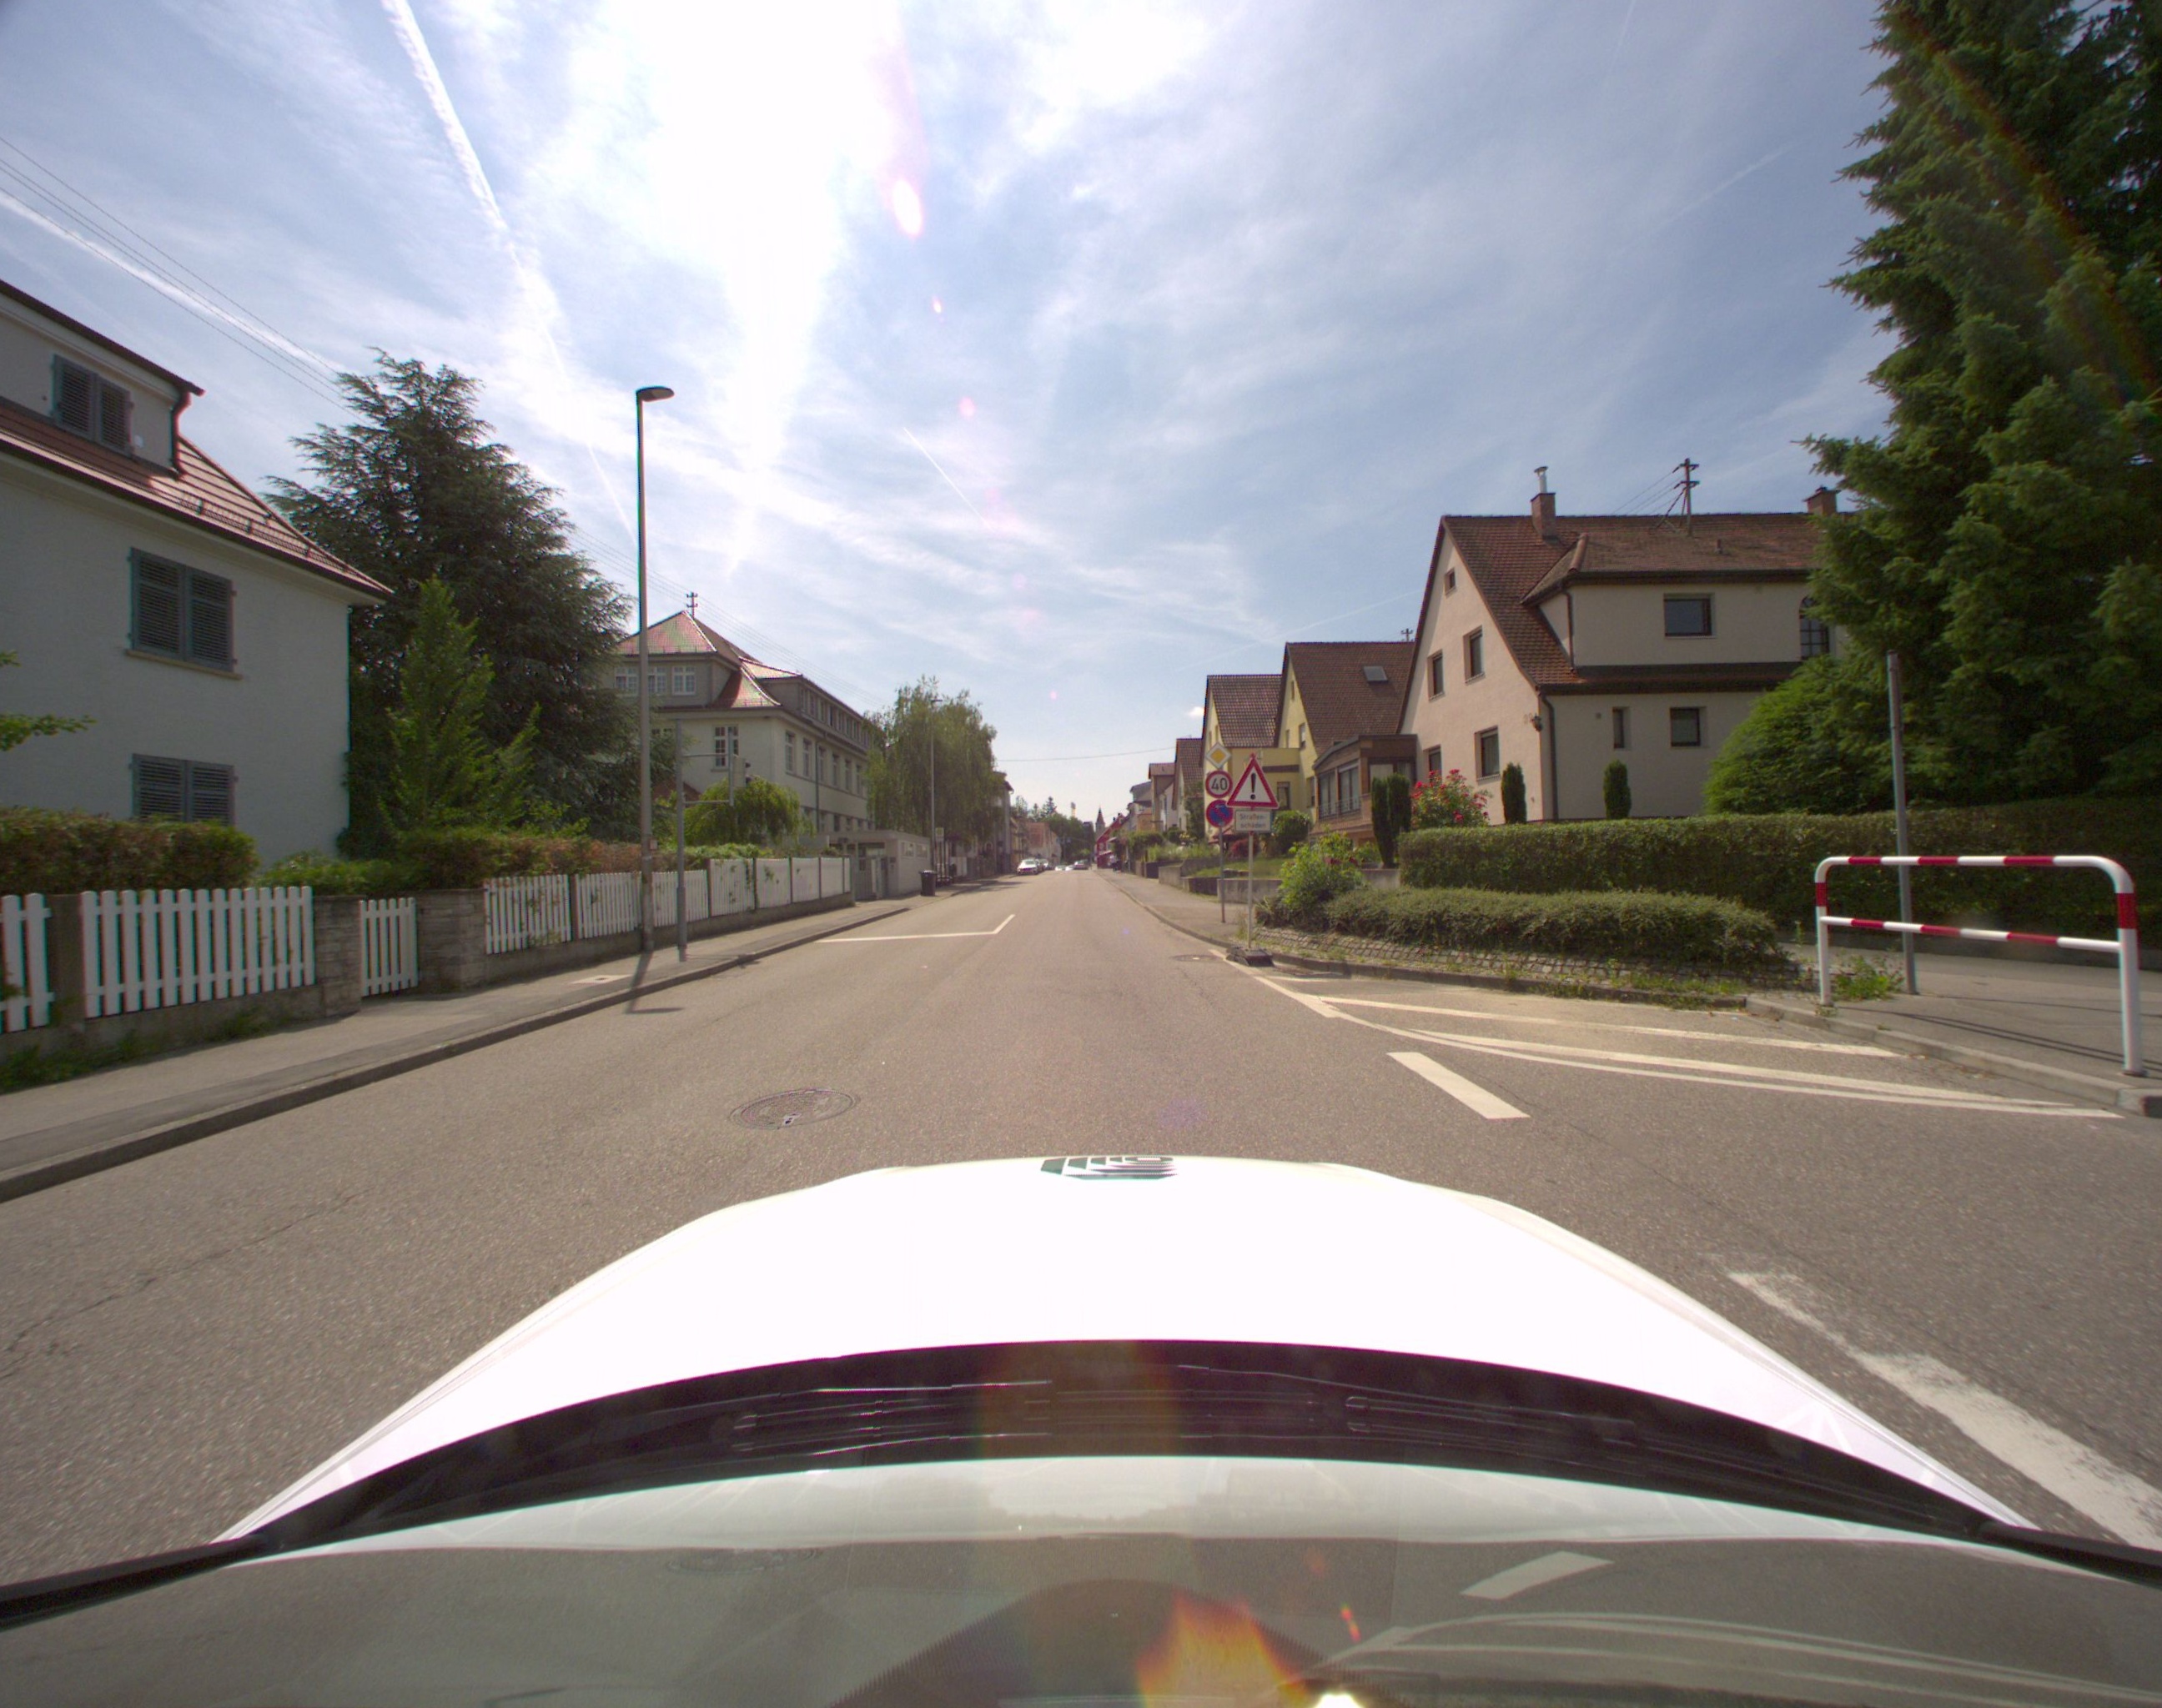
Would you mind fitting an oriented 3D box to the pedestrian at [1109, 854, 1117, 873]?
[{"bbox_3d":[2.939,0.902,75.098,0.644,1.729,0.608,-4,0,-1],"label":"pedestrian"}]

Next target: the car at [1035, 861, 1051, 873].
[{"bbox_3d":[-5.223,1.732,112.665,1.988,1.560,4.312,-2,0,-1],"label":"car"}]

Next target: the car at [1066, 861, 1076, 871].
[{"bbox_3d":[-2.070,2.557,170.992,1.986,2.013,4.001,-2,0,2],"label":"car"}]

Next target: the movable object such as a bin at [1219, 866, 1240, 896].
[{"bbox_3d":[5.592,1.016,30.710,0.581,1.078,0.733,3,0,-1],"label":"movable object such as a bin"}]

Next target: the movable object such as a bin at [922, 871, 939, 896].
[{"bbox_3d":[-6.533,1.268,35.428,0.606,1.046,0.725,-1,1,-1],"label":"movable object such as a bin"}]

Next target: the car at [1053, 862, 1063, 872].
[{"bbox_3d":[-4.923,2.772,174.118,1.986,2.013,4.001,-2,0,2],"label":"car"}]

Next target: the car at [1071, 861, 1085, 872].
[{"bbox_3d":[-0.521,2.033,132.322,1.989,1.560,4.308,-2,0,-4],"label":"car"}]

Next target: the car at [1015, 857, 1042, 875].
[{"bbox_3d":[-4.911,1.095,76.857,2.102,1.560,4.316,-2,0,2],"label":"car"}]

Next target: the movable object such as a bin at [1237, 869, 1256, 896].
[{"bbox_3d":[6.259,1.071,30.735,0.526,0.989,0.563,5,0,0],"label":"movable object such as a bin"}]
